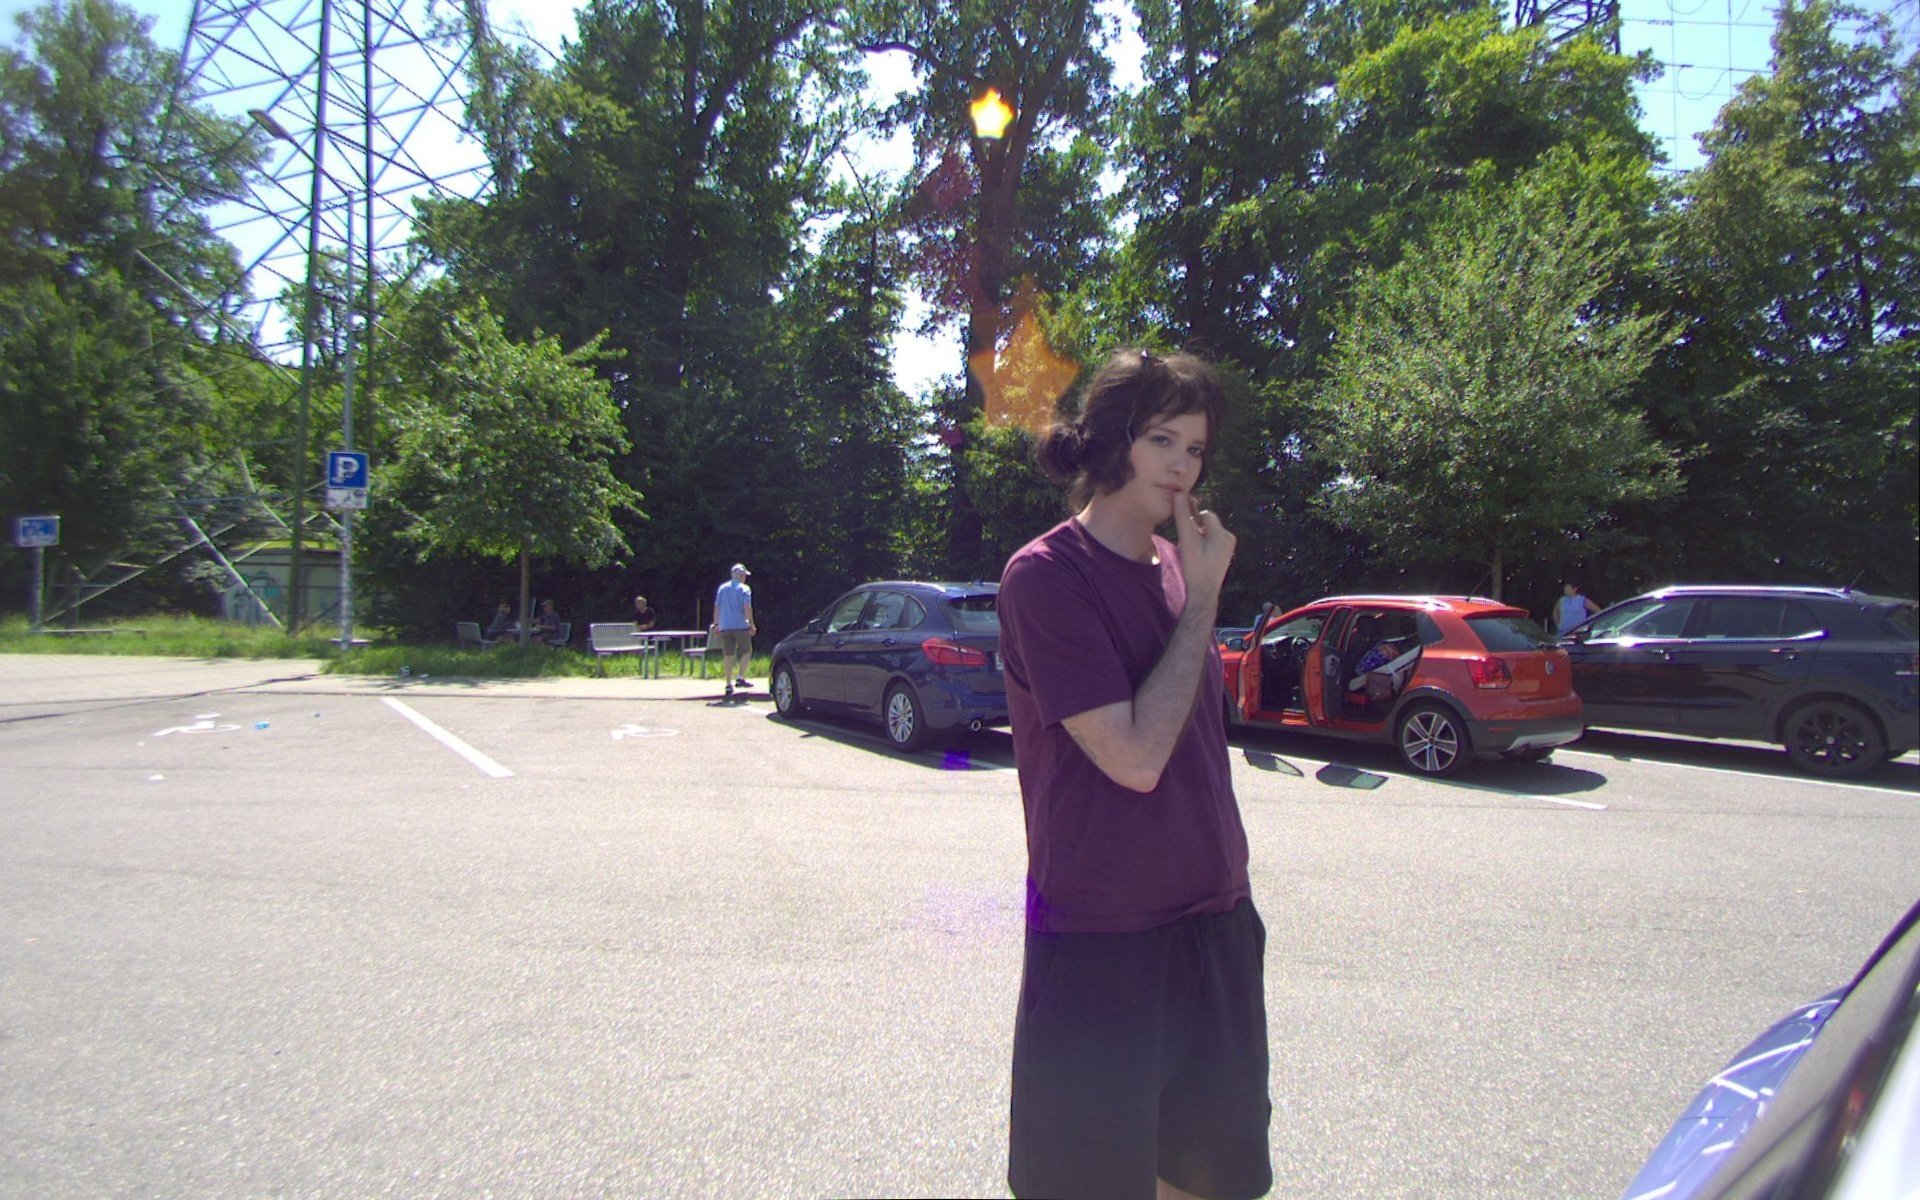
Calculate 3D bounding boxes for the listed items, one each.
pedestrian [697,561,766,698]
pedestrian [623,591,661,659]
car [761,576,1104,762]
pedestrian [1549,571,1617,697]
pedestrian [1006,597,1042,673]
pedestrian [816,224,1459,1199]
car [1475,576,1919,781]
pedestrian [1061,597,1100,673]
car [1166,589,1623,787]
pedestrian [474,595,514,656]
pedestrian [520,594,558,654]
[{"bbox_3d":[-3.008,0.372,13.376,0.664,1.754,0.832,0,0,6],"label":"pedestrian"},{"bbox_3d":[-6.685,0.523,21.300,0.553,1.408,0.700,0,0,2],"label":"pedestrian"},{"bbox_3d":[-0.479,0.558,10.650,1.776,1.562,3.940,1,0,-34],"label":"car"},{"bbox_3d":[9.394,0.501,15.279,0.755,1.854,0.518,0,0,16],"label":"pedestrian"},{"bbox_3d":[1.072,0.586,17.065,0.576,1.251,0.697,0,-1,1],"label":"pedestrian"},{"bbox_3d":[0.202,0.447,1.744,0.844,1.857,0.865,0,0,-5],"label":"pedestrian"},{"bbox_3d":[7.224,0.596,9.693,1.707,1.607,3.732,1,0,-39],"label":"car"},{"bbox_3d":[2.019,0.582,16.999,0.576,1.251,0.697,0,-1,1],"label":"pedestrian"},{"bbox_3d":[3.859,0.646,9.577,1.559,1.467,3.737,1,0,-33],"label":"car"},{"bbox_3d":[-10.515,0.557,22.823,0.687,1.352,0.563,0,0,-40],"label":"pedestrian"},{"bbox_3d":[-9.757,0.547,23.461,0.687,1.352,0.563,0,0,-40],"label":"pedestrian"}]
